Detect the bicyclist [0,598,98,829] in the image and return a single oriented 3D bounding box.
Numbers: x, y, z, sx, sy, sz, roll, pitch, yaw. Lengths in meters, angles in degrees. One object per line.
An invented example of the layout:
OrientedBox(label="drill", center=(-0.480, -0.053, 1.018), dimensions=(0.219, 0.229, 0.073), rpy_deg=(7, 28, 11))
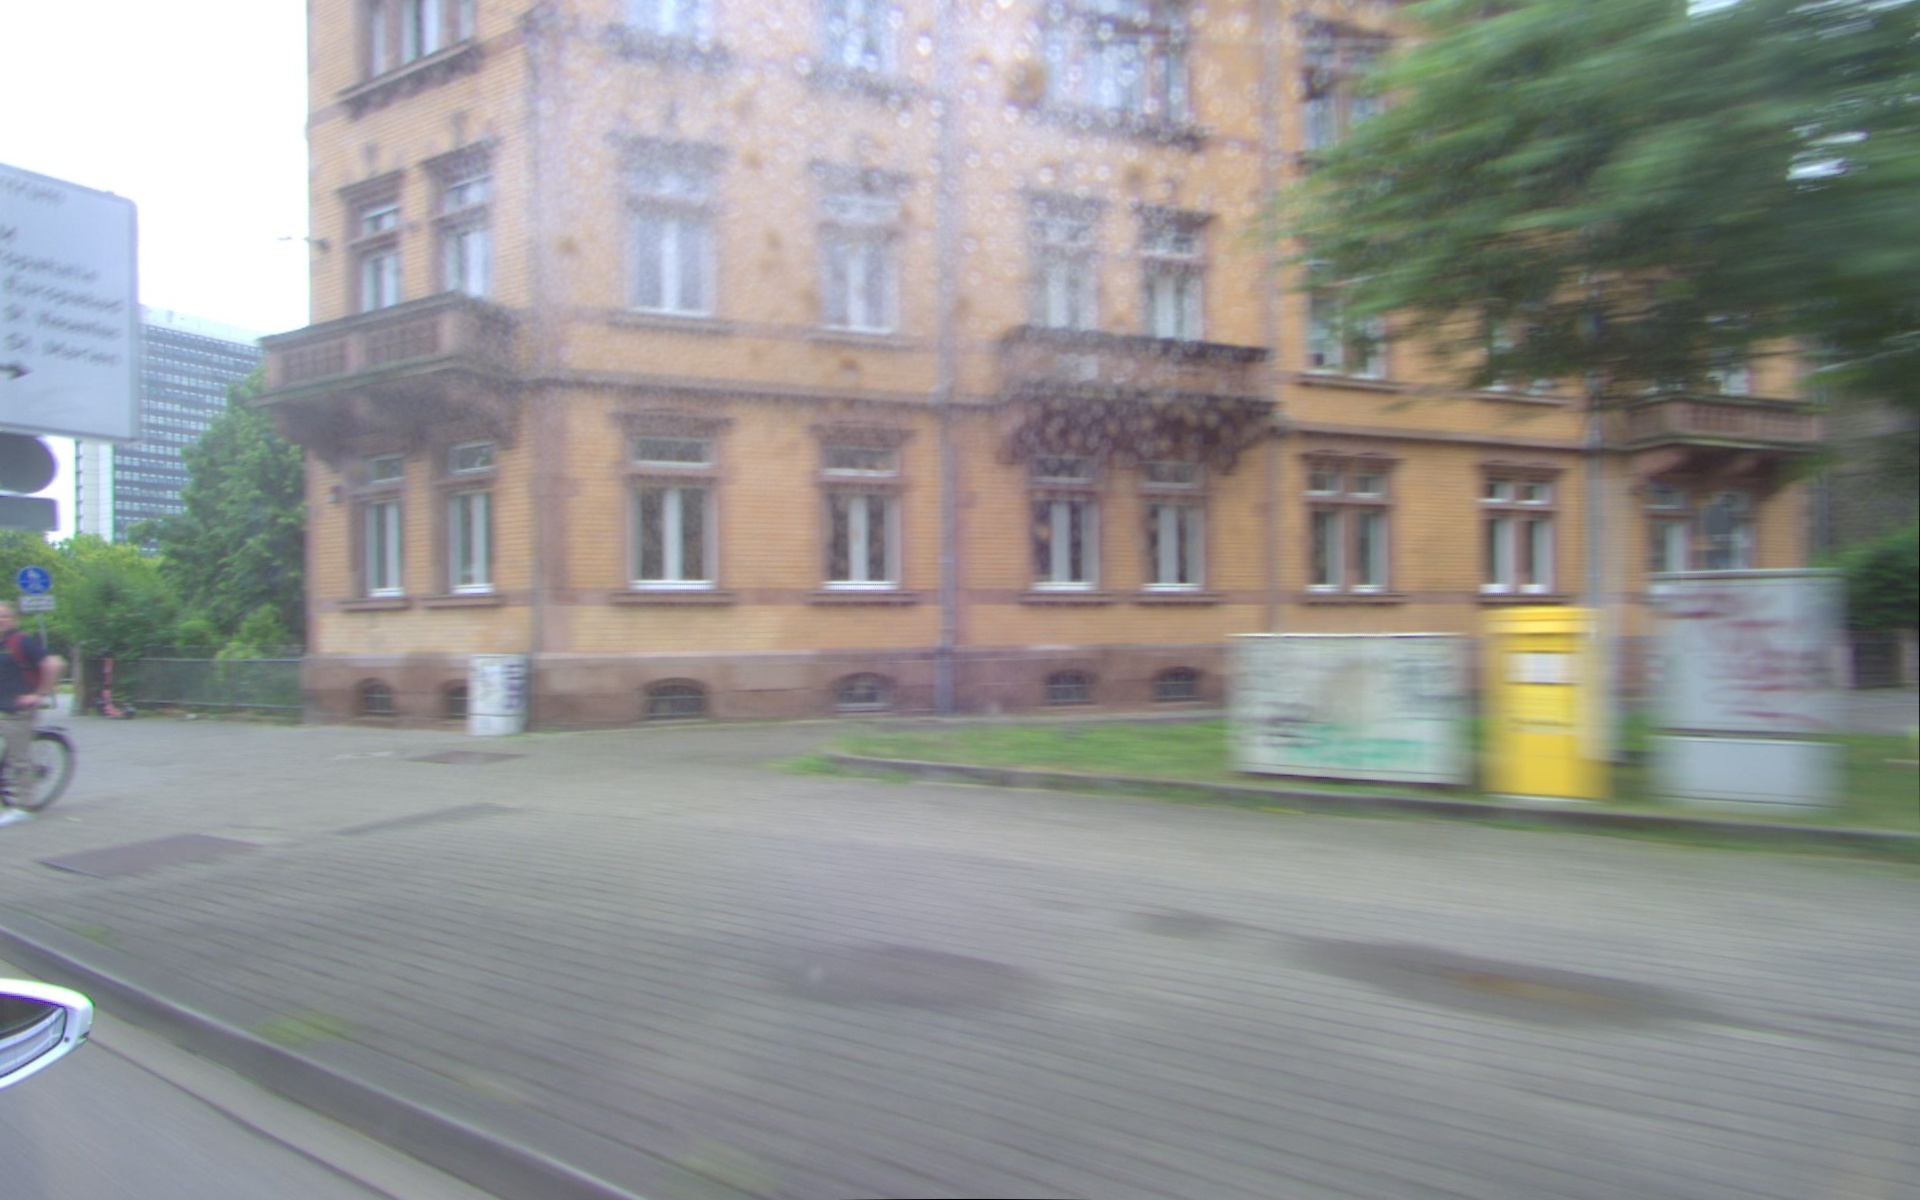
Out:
OrientedBox(label="bicyclist", center=(-7.846, 0.910, 8.240), dimensions=(0.874, 1.818, 0.682), rpy_deg=(0, -1, -5))

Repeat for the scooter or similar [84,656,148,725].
OrientedBox(label="scooter or similar", center=(-14.723, 1.557, 17.457), dimensions=(1.180, 1.155, 0.376), rpy_deg=(-1, -1, 24))

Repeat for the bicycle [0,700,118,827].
OrientedBox(label="bicycle", center=(-8.028, 1.345, 8.213), dimensions=(0.781, 0.935, 1.869), rpy_deg=(0, -2, -6))
